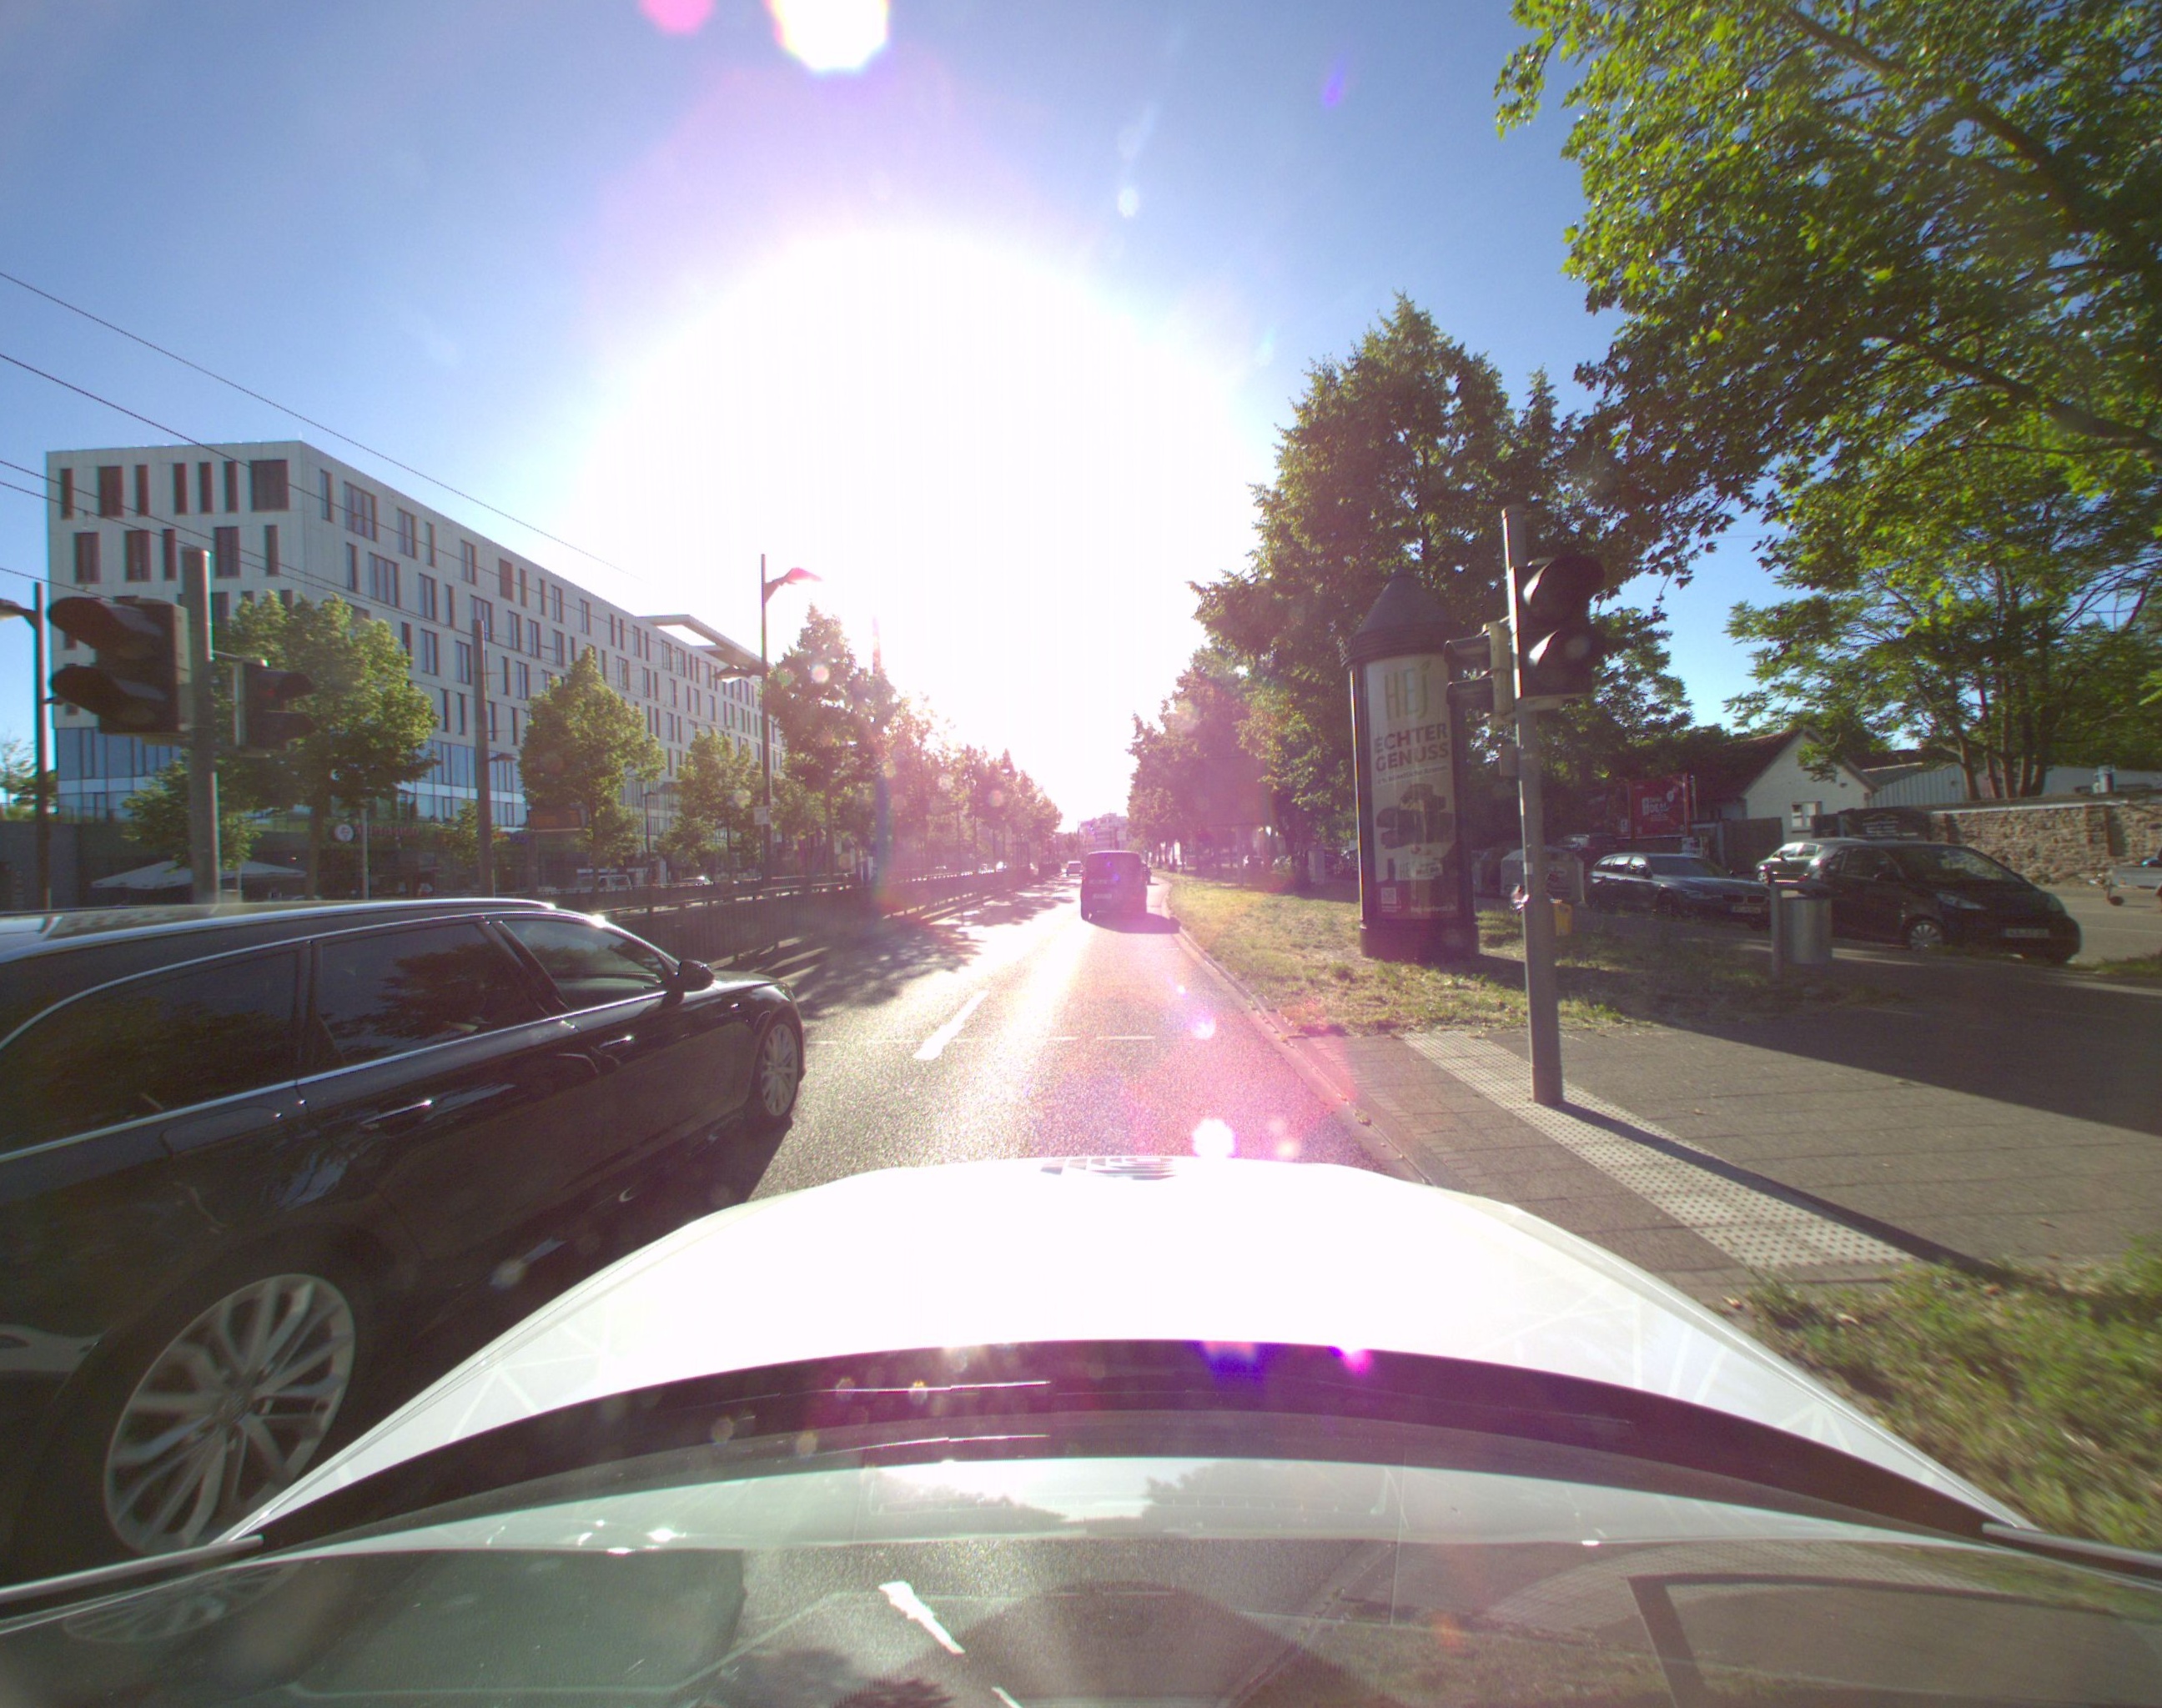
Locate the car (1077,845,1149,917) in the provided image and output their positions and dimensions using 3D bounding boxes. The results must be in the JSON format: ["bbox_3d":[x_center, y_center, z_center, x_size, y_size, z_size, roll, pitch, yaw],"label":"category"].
[{"bbox_3d":[0.808,0.728,22.864,1.803,1.838,3.998,0,-1,-1],"label":"car"}]

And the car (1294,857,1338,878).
[{"bbox_3d":[15.406,0.899,53.617,1.864,1.368,4.001,0,-1,2],"label":"car"}]

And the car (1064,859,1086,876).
[{"bbox_3d":[-0.604,1.328,80.957,1.986,1.618,4.001,0,-1,2],"label":"car"}]

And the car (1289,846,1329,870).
[{"bbox_3d":[16.361,0.320,58.709,1.864,1.684,4.001,0,-1,2],"label":"car"}]

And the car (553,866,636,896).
[{"bbox_3d":[-29.834,1.635,50.154,1.985,1.714,4.855,0,-1,3],"label":"car"}]

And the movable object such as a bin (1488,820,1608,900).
[{"bbox_3d":[12.320,0.167,21.630,2.071,2.014,2.139,0,-1,5],"label":"movable object such as a bin"}]

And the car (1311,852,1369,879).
[{"bbox_3d":[14.463,0.646,45.728,1.864,1.434,4.903,0,-1,2],"label":"car"}]

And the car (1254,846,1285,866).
[{"bbox_3d":[17.147,0.226,74.278,1.865,1.684,4.000,-3,-1,1],"label":"car"}]

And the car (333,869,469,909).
[{"bbox_3d":[-30.065,1.500,36.248,1.985,1.672,4.614,0,-1,3],"label":"car"}]

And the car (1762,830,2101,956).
[{"bbox_3d":[11.432,0.498,11.257,1.654,1.500,2.992,0,-1,4],"label":"car"}]

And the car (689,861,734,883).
[{"bbox_3d":[-34.986,1.674,77.269,1.985,2.014,4.566,0,-1,3],"label":"car"}]

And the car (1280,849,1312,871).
[{"bbox_3d":[17.018,0.460,64.648,1.862,1.684,4.006,0,-1,6],"label":"car"}]

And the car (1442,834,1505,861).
[{"bbox_3d":[25.076,-0.360,52.211,1.863,1.483,4.694,-4,-1,3],"label":"car"}]

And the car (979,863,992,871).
[{"bbox_3d":[-20.950,2.842,178.408,1.983,1.765,4.006,0,-1,6],"label":"car"}]

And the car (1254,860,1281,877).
[{"bbox_3d":[19.248,1.512,84.208,1.865,1.684,4.000,0,-1,1],"label":"car"}]

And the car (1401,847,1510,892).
[{"bbox_3d":[13.757,0.575,30.269,1.864,1.524,5.057,0,-1,2],"label":"car"}]

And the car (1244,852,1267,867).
[{"bbox_3d":[19.904,0.693,93.085,1.865,1.684,4.000,0,-1,1],"label":"car"}]

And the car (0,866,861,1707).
[{"bbox_3d":[-2.662,0.814,3.120,1.944,1.480,5.089,-1,0,4],"label":"car"}]

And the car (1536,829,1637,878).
[{"bbox_3d":[23.346,0.027,37.815,1.863,2.002,4.694,-3,-1,3],"label":"car"}]

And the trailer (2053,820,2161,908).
[{"bbox_3d":[21.269,0.154,15.587,1.722,1.640,3.028,-4,-1,6],"label":"trailer"}]

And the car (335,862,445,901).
[{"bbox_3d":[-37.781,1.475,44.707,1.985,2.014,4.566,0,-1,3],"label":"car"}]

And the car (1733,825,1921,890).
[{"bbox_3d":[22.145,0.143,24.446,1.985,1.640,4.003,-4,-1,3],"label":"car"}]

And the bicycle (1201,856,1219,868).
[{"bbox_3d":[14.268,0.916,89.905,1.910,1.268,0.479,-1,-1,2],"label":"bicycle"}]

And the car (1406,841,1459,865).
[{"bbox_3d":[25.149,-0.020,58.427,1.863,1.547,4.694,-3,-1,3],"label":"car"}]

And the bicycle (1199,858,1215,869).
[{"bbox_3d":[14.038,1.066,90.718,1.771,1.268,0.479,0,-1,2],"label":"bicycle"}]

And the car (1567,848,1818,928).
[{"bbox_3d":[12.017,0.630,16.524,1.988,1.384,4.754,0,-1,7],"label":"car"}]

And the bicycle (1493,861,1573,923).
[{"bbox_3d":[8.190,0.662,14.837,0.491,1.046,1.905,0,-1,3],"label":"bicycle"}]

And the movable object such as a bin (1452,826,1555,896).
[{"bbox_3d":[12.583,0.224,24.388,2.071,2.014,2.139,0,-1,5],"label":"movable object such as a bin"}]

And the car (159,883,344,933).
[{"bbox_3d":[-30.498,1.937,30.191,1.985,1.608,4.614,0,-1,3],"label":"car"}]
